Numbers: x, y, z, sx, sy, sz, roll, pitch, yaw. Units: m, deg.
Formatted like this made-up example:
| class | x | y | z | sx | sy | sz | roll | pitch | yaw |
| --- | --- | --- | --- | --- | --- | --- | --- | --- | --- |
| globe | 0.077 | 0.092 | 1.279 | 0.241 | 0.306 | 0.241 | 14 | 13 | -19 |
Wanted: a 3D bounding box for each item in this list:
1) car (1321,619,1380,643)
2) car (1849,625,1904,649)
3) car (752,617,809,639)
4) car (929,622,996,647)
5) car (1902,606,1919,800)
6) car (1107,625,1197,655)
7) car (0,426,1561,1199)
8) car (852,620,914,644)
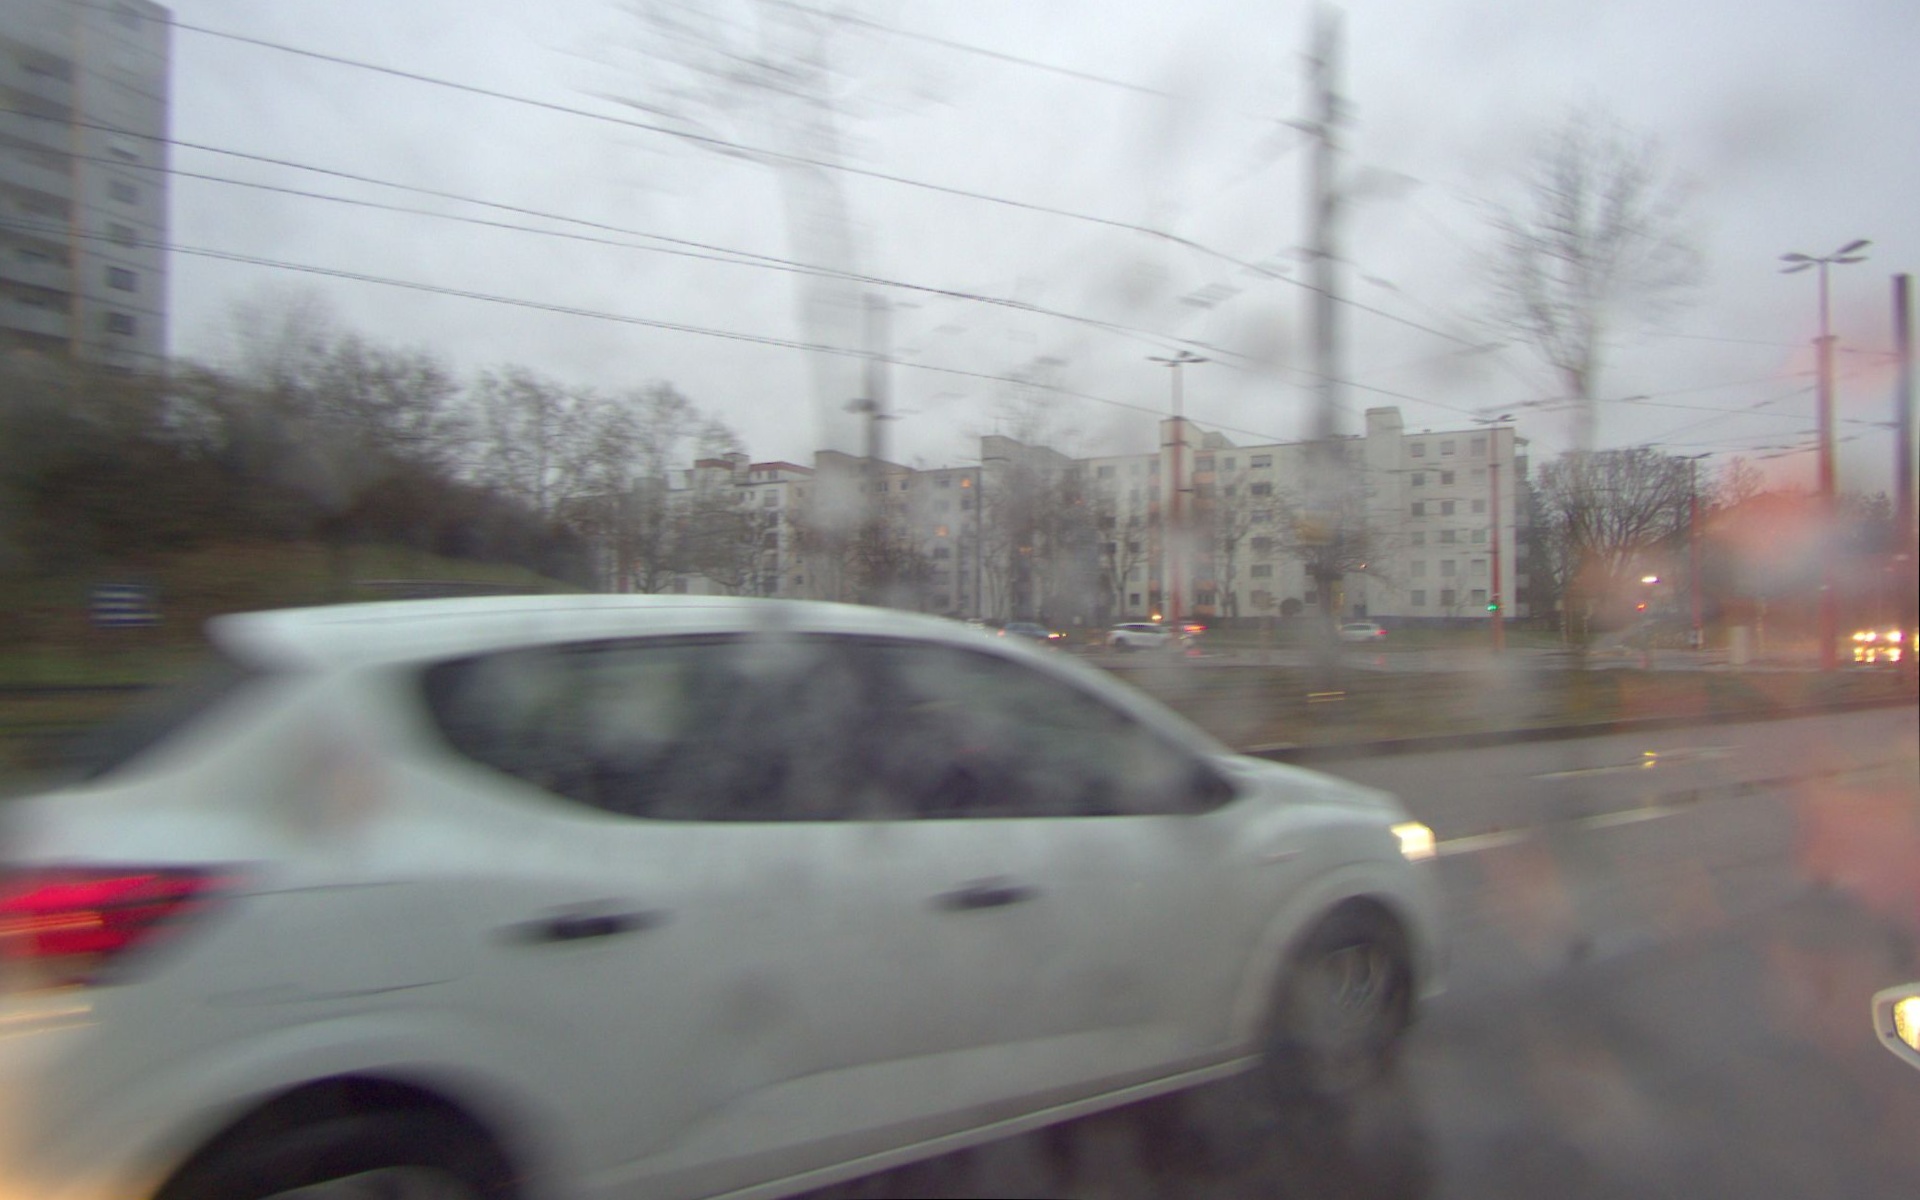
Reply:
| class | x | y | z | sx | sy | sz | roll | pitch | yaw |
| --- | --- | --- | --- | --- | --- | --- | --- | --- | --- |
| car | 28.641 | 2.260 | 73.704 | 3.926 | 1.661 | 1.535 | -1 | -1 | 26 |
| car | 60.650 | 2.441 | 66.477 | 3.970 | 1.515 | 1.610 | 1 | -1 | -31 |
| car | -12.848 | 1.988 | 71.856 | 3.932 | 1.565 | 1.708 | -1 | -2 | 33 |
| car | 0.156 | 2.160 | 63.353 | 3.932 | 1.565 | 1.708 | -1 | -2 | 33 |
| car | 10.566 | 0.915 | 9.094 | 4.414 | 1.670 | 1.814 | 1 | -1 | -30 |
| car | 10.189 | 2.099 | 53.527 | 4.365 | 1.565 | 1.847 | -1 | -2 | 33 |
| car | -0.183 | 0.637 | 3.053 | 4.098 | 1.670 | 1.706 | 1 | -1 | -30 |
| car | -5.126 | 2.112 | 66.747 | 3.932 | 1.565 | 1.708 | -1 | -2 | 33 |
